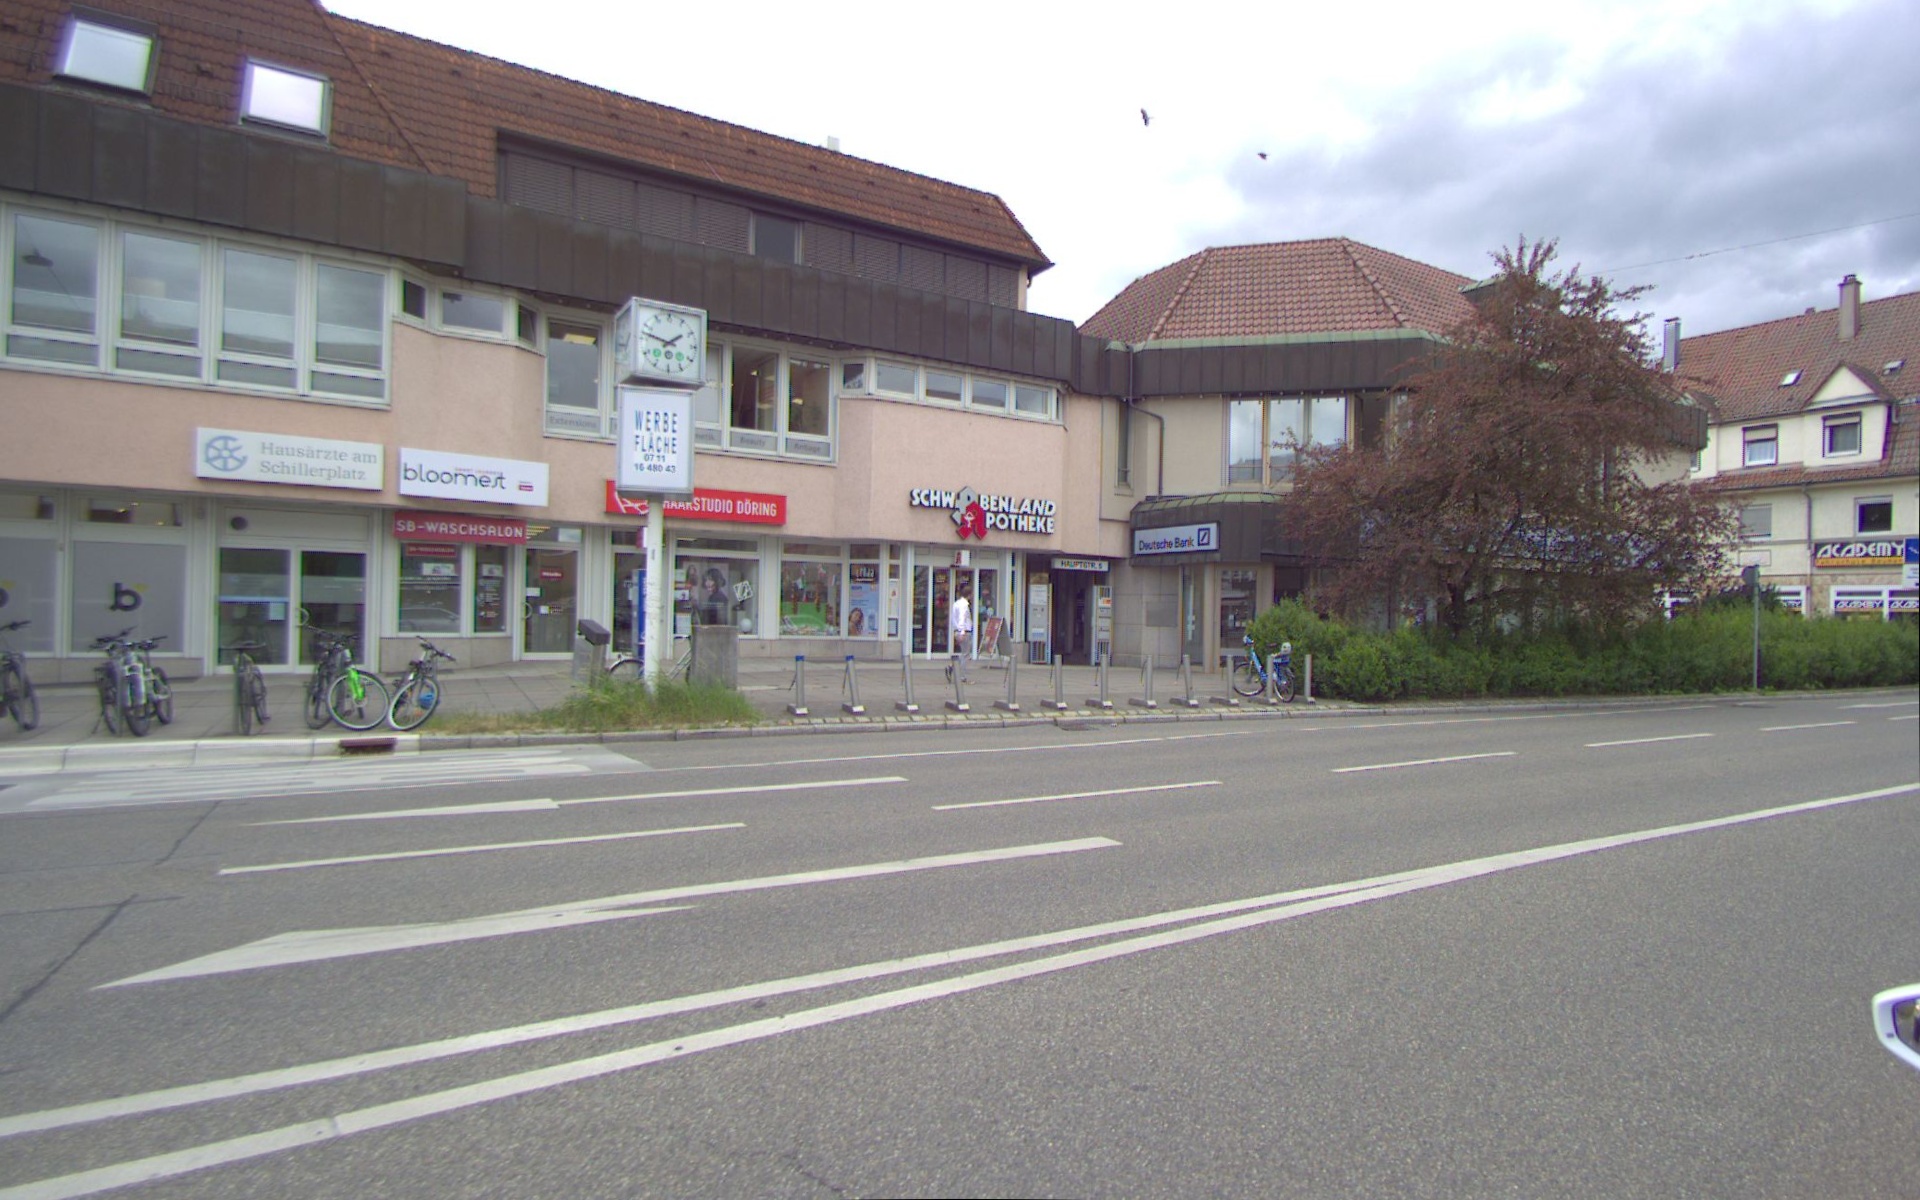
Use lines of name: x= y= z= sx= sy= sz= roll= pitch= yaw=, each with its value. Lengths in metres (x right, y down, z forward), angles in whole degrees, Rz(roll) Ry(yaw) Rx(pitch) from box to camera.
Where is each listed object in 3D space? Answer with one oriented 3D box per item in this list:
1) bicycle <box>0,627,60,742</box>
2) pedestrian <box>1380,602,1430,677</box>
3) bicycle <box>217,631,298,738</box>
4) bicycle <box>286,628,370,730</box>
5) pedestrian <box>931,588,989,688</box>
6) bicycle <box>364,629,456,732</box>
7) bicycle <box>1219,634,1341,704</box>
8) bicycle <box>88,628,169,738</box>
bicycle: x=-10.229 y=0.859 z=10.715 sx=0.642 sy=1.105 sz=2.005 roll=1 pitch=-1 yaw=-34
pedestrian: x=11.117 y=0.986 z=25.088 sx=0.745 sy=1.788 sz=0.723 roll=1 pitch=4 yaw=-25
bicycle: x=-8.286 y=0.942 z=11.818 sx=0.643 sy=1.105 sz=2.002 roll=1 pitch=-1 yaw=-38
bicycle: x=-7.780 y=0.924 z=12.322 sx=0.643 sy=1.105 sz=2.002 roll=1 pitch=-1 yaw=-38
pedestrian: x=-0.003 y=0.686 z=18.569 sx=0.747 sy=1.788 sz=0.721 roll=0 pitch=3 yaw=-32
bicycle: x=-6.752 y=0.933 z=12.278 sx=0.643 sy=1.105 sz=2.002 roll=1 pitch=-1 yaw=-38
bicycle: x=5.542 y=1.170 z=17.521 sx=0.643 sy=1.105 sz=2.002 roll=1 pitch=-1 yaw=-38
bicycle: x=-9.446 y=0.891 z=11.452 sx=0.643 sy=1.105 sz=2.002 roll=1 pitch=-1 yaw=-38
